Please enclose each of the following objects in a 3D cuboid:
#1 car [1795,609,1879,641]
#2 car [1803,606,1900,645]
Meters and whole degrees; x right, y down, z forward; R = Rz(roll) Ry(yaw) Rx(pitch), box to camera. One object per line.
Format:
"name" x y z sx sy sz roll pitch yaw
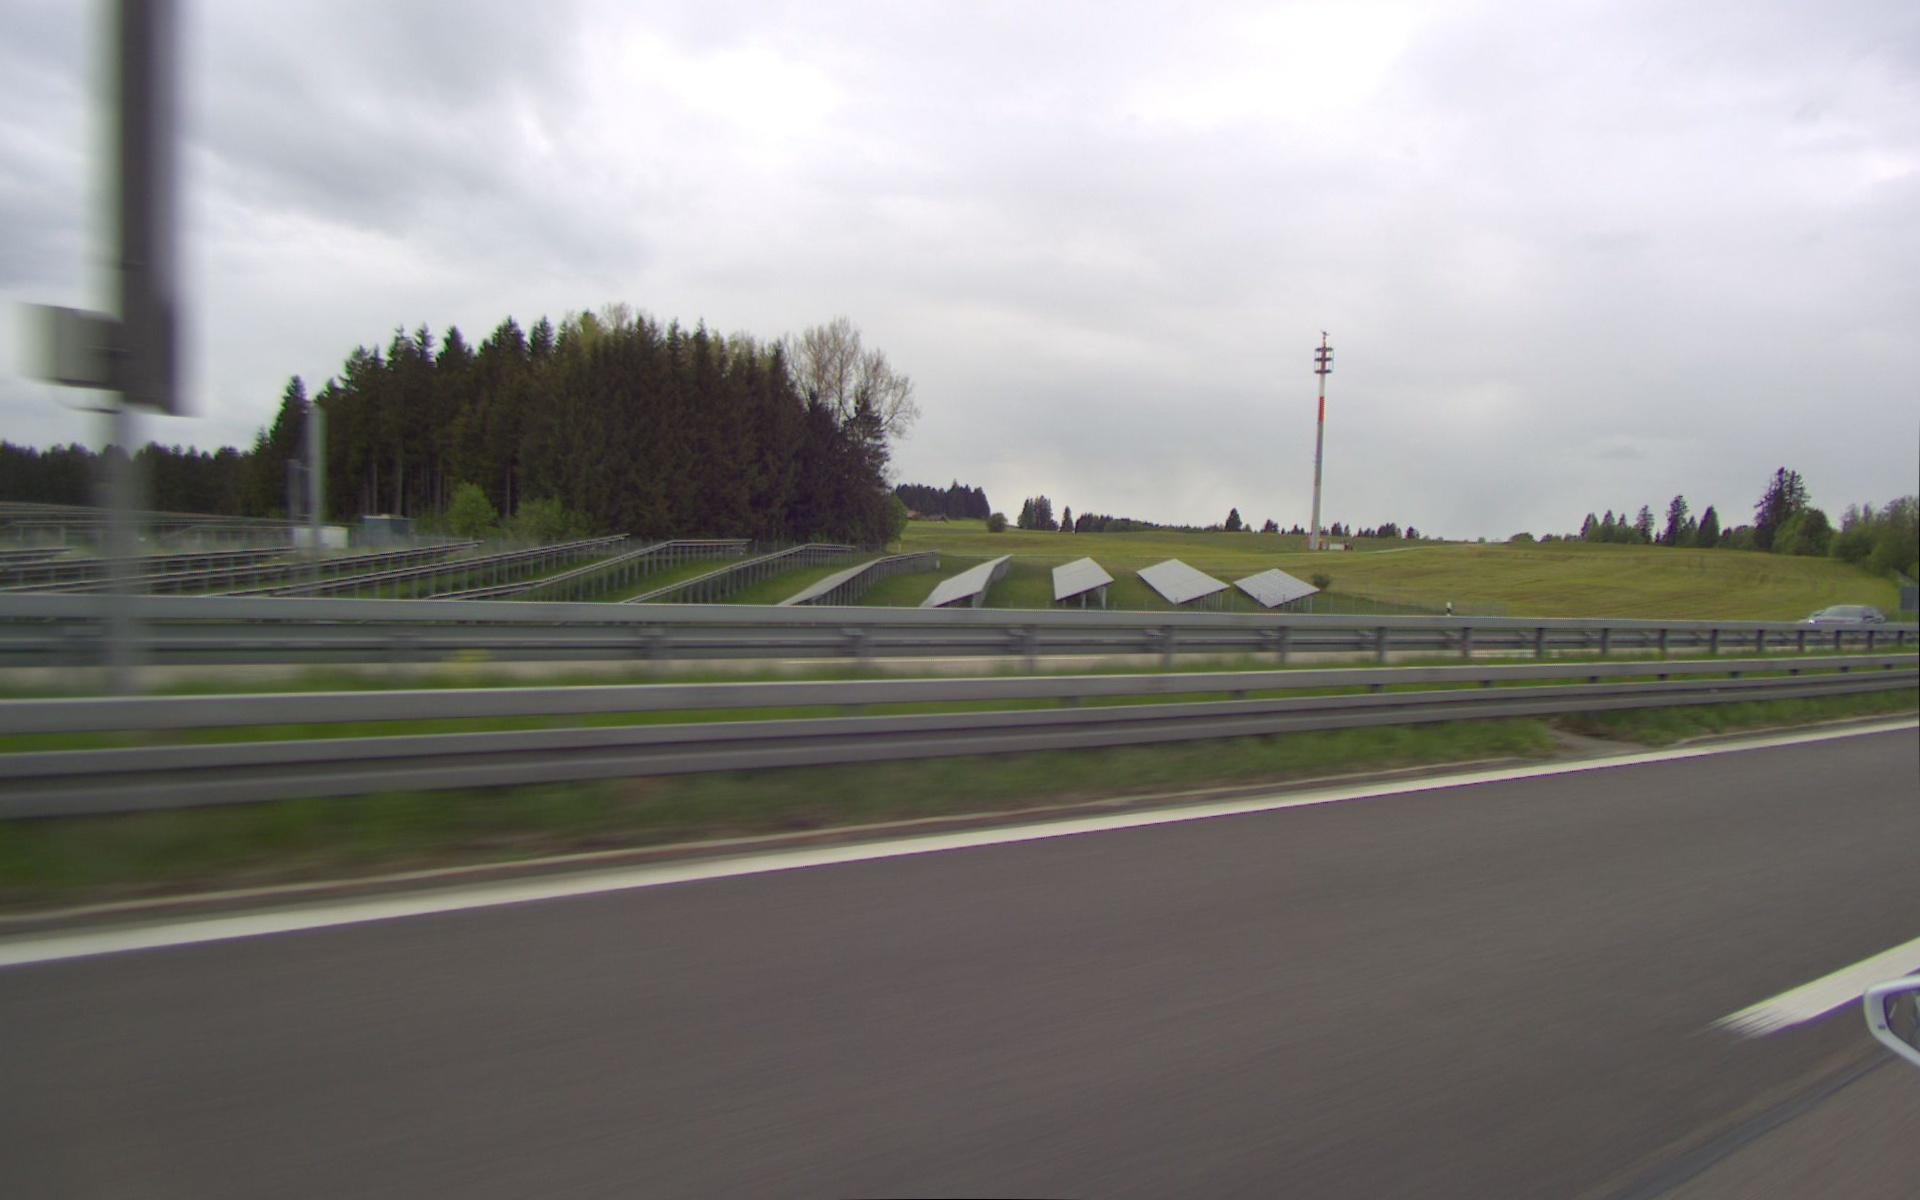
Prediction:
"car" 45.952 1.301 52.613 4.946 1.459 1.981 1 3 -33
"car" 37.968 1.069 42.783 3.955 1.436 1.983 1 3 -32
